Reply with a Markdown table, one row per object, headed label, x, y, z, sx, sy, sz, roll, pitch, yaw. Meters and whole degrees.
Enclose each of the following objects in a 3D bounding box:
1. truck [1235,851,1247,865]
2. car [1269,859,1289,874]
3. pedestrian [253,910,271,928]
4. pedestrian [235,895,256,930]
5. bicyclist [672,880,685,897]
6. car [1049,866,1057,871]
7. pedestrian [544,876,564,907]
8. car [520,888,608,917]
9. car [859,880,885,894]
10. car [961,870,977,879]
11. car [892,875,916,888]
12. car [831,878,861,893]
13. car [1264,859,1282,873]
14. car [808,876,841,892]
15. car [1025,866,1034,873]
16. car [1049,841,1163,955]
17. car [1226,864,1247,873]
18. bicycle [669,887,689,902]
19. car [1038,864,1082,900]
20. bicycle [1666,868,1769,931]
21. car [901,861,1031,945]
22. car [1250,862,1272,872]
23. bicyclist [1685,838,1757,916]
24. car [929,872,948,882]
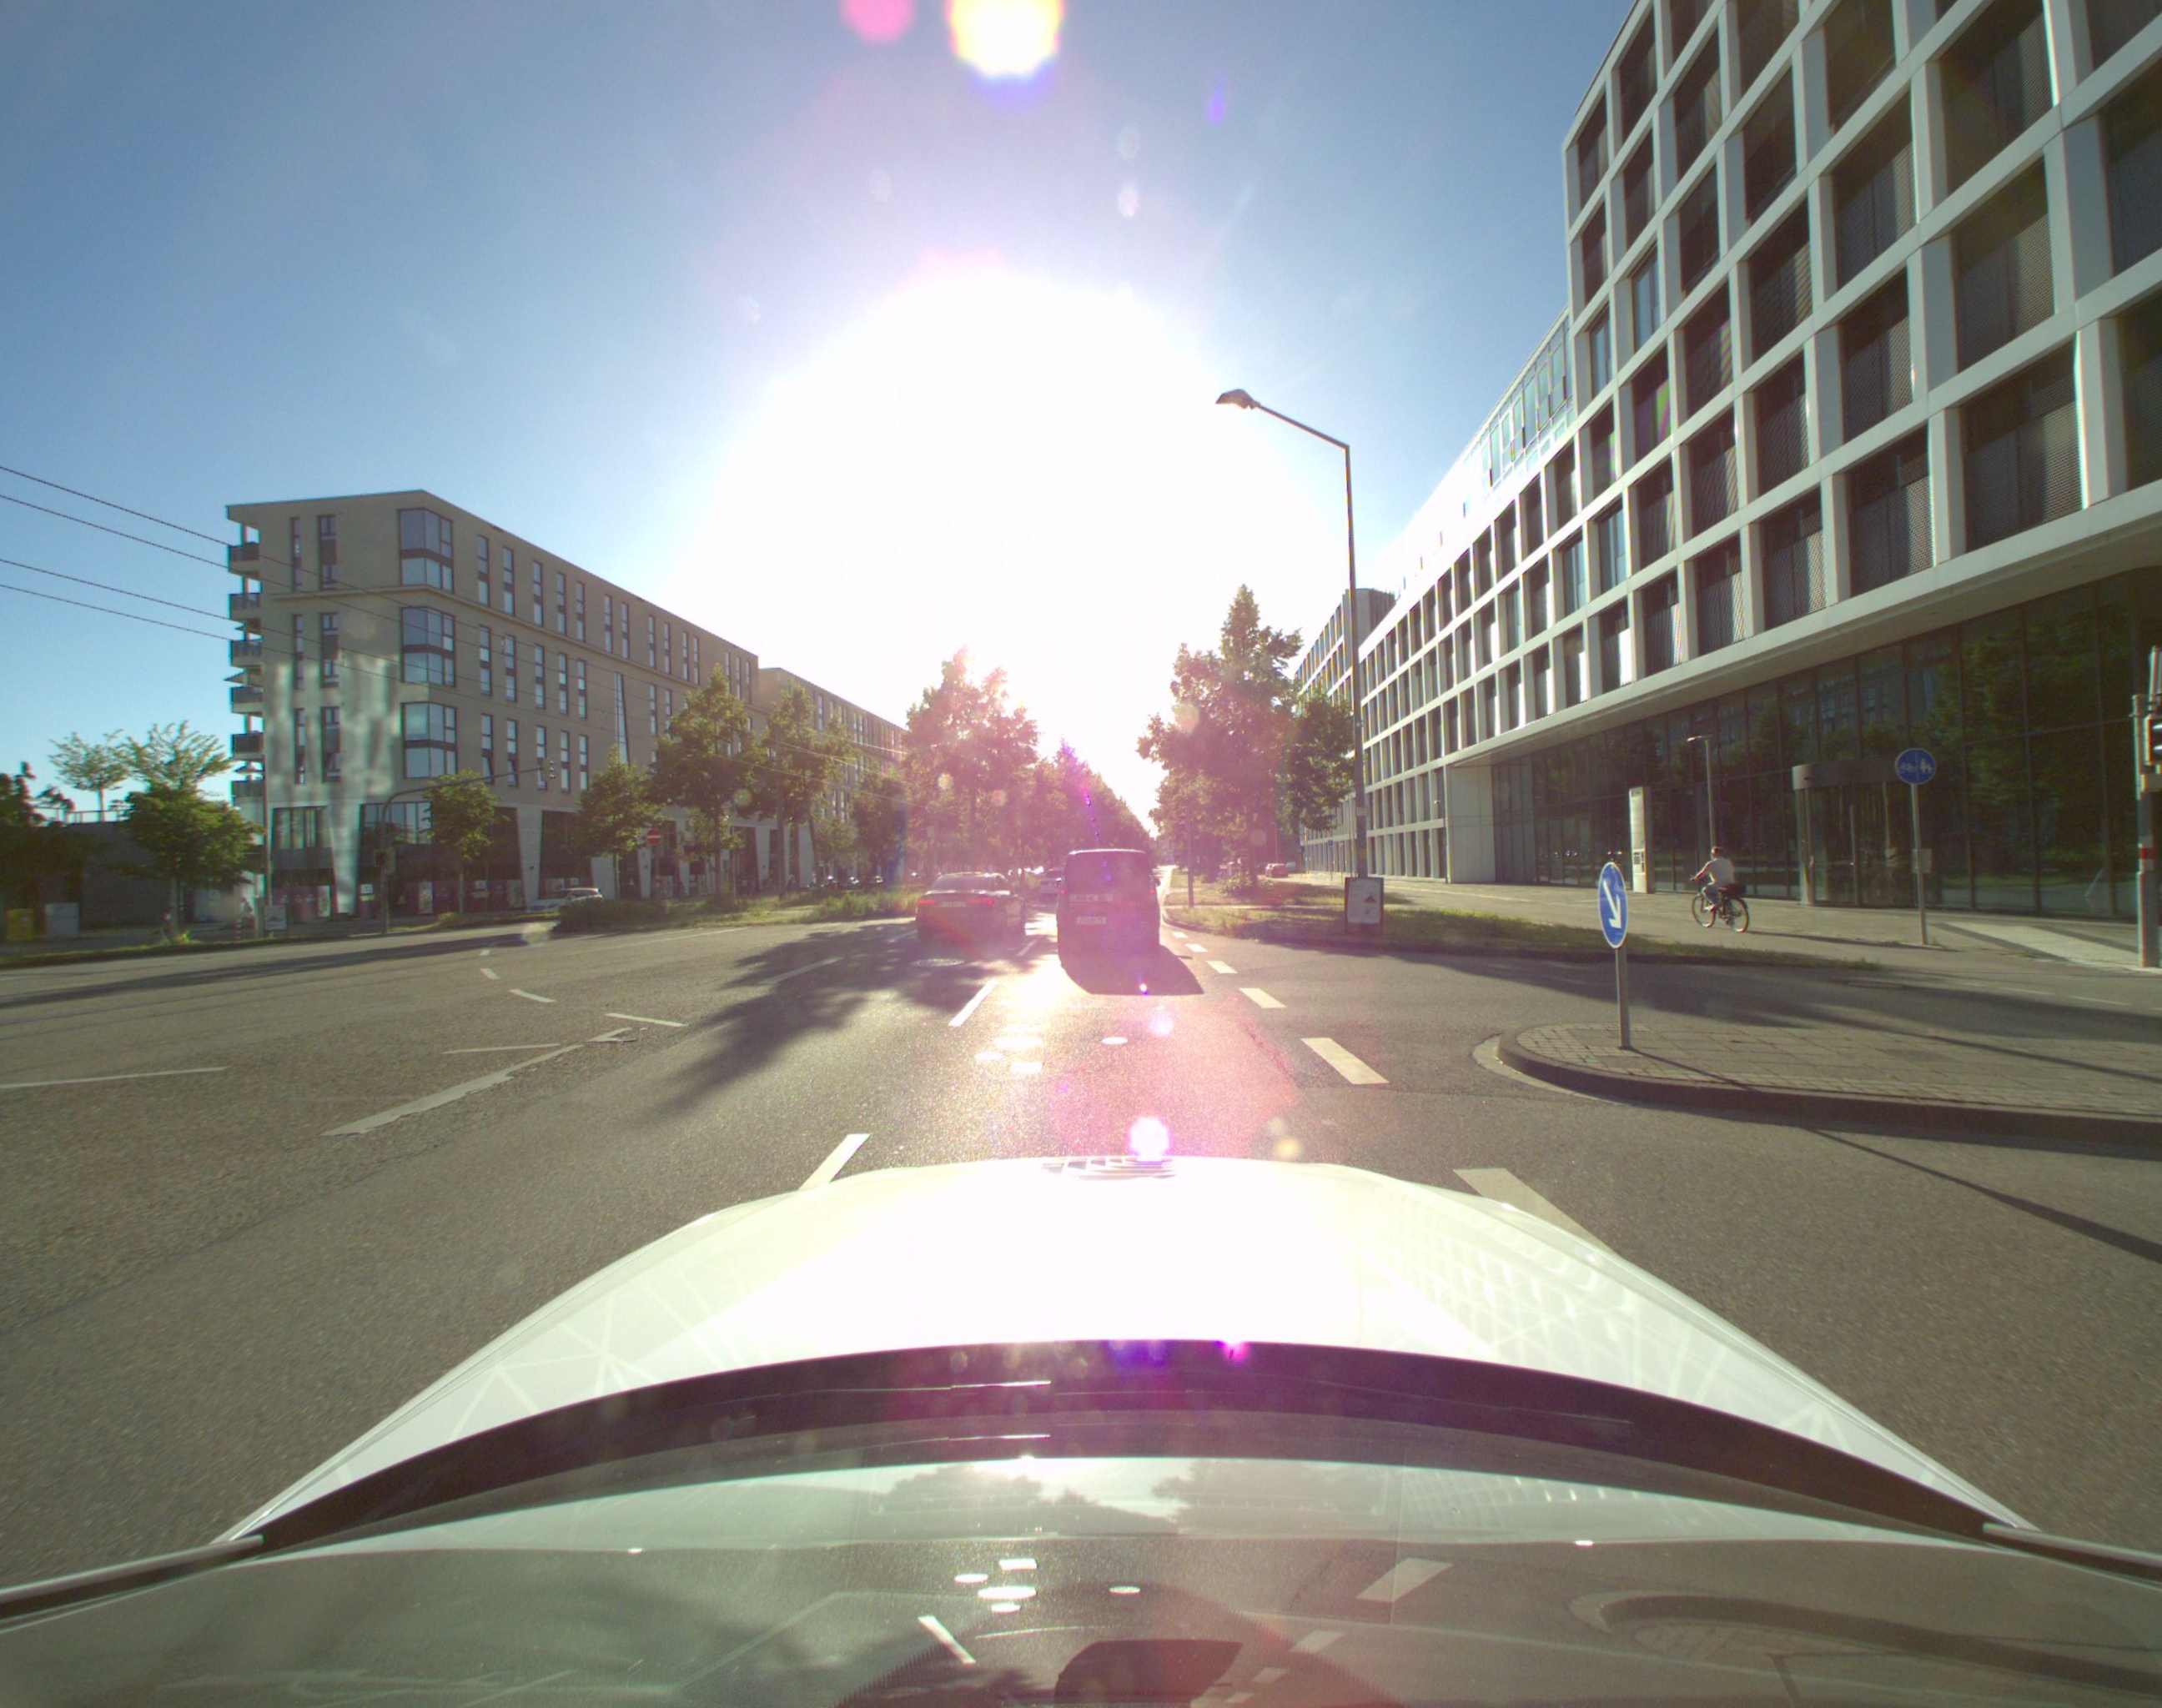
| label | x | y | z | sx | sy | sz | roll | pitch | yaw |
| --- | --- | --- | --- | --- | --- | --- | --- | --- | --- |
| truck | 31.285 | 0.804 | 159.283 | 1.822 | 2.501 | 5.942 | -2 | -1 | 6 |
| car | 21.588 | 1.338 | 88.887 | 1.748 | 1.611 | 3.912 | -2 | -1 | 8 |
| pedestrian | -44.556 | 3.512 | 44.297 | 0.602 | 0.920 | 0.429 | 0 | -1 | -30 |
| pedestrian | -44.256 | 3.086 | 43.130 | 0.602 | 1.771 | 0.666 | 0 | -1 | -30 |
| bicyclist | -31.601 | 2.689 | 63.881 | 0.574 | 1.293 | 0.707 | -1 | -1 | 10 |
| car | -7.845 | 4.105 | 230.930 | 1.747 | 1.574 | 4.007 | -2 | -1 | 6 |
| pedestrian | -30.699 | 2.171 | 47.439 | 0.576 | 1.812 | 0.801 | -1 | -1 | 3 |
| car | -28.152 | 2.622 | 44.492 | 1.572 | 1.342 | 4.479 | -2 | -1 | 6 |
| car | -23.009 | 3.660 | 89.858 | 1.572 | 1.342 | 3.718 | -2 | -1 | 6 |
| car | -17.449 | 3.208 | 127.407 | 1.572 | 1.342 | 3.718 | -2 | -1 | 6 |
| car | -22.266 | 3.416 | 102.752 | 1.767 | 1.528 | 3.812 | -2 | -1 | 6 |
| car | -23.866 | 3.183 | 82.866 | 1.572 | 1.342 | 3.718 | -2 | -1 | 6 |
| car | 22.121 | 1.394 | 93.787 | 1.808 | 1.532 | 3.446 | -2 | -1 | 10 |
| car | -24.205 | 2.789 | 77.091 | 1.572 | 1.342 | 3.718 | -2 | -1 | 6 |
| car | -14.092 | 4.174 | 224.473 | 1.723 | 1.772 | 4.007 | -2 | -1 | 6 |
| car | 0.471 | 0.777 | 15.344 | 1.801 | 1.794 | 4.113 | -2 | -2 | 2 |
| car | 26.669 | 2.533 | 139.538 | 3.375 | 1.358 | 1.476 | -2 | -1 | 13 |
| bicycle | -31.577 | 3.188 | 63.969 | 0.525 | 1.111 | 1.643 | -1 | -1 | 11 |
| car | -0.880 | 1.213 | 36.263 | 1.802 | 1.434 | 4.113 | -2 | -1 | 0 |
| bicycle | 13.166 | 0.909 | 16.920 | 0.737 | 1.174 | 1.965 | -2 | -1 | 7 |
| car | -2.337 | 0.962 | 17.617 | 1.799 | 1.527 | 4.119 | -2 | -1 | 5 |
| car | 28.190 | 2.025 | 127.407 | 3.375 | 1.358 | 1.476 | -2 | -1 | 13 |
| bicyclist | 13.144 | 0.466 | 16.745 | 0.767 | 1.531 | 0.851 | -2 | -1 | 6 |
| car | -20.168 | 3.216 | 115.133 | 1.572 | 1.342 | 3.718 | -2 | -1 | 6 |
